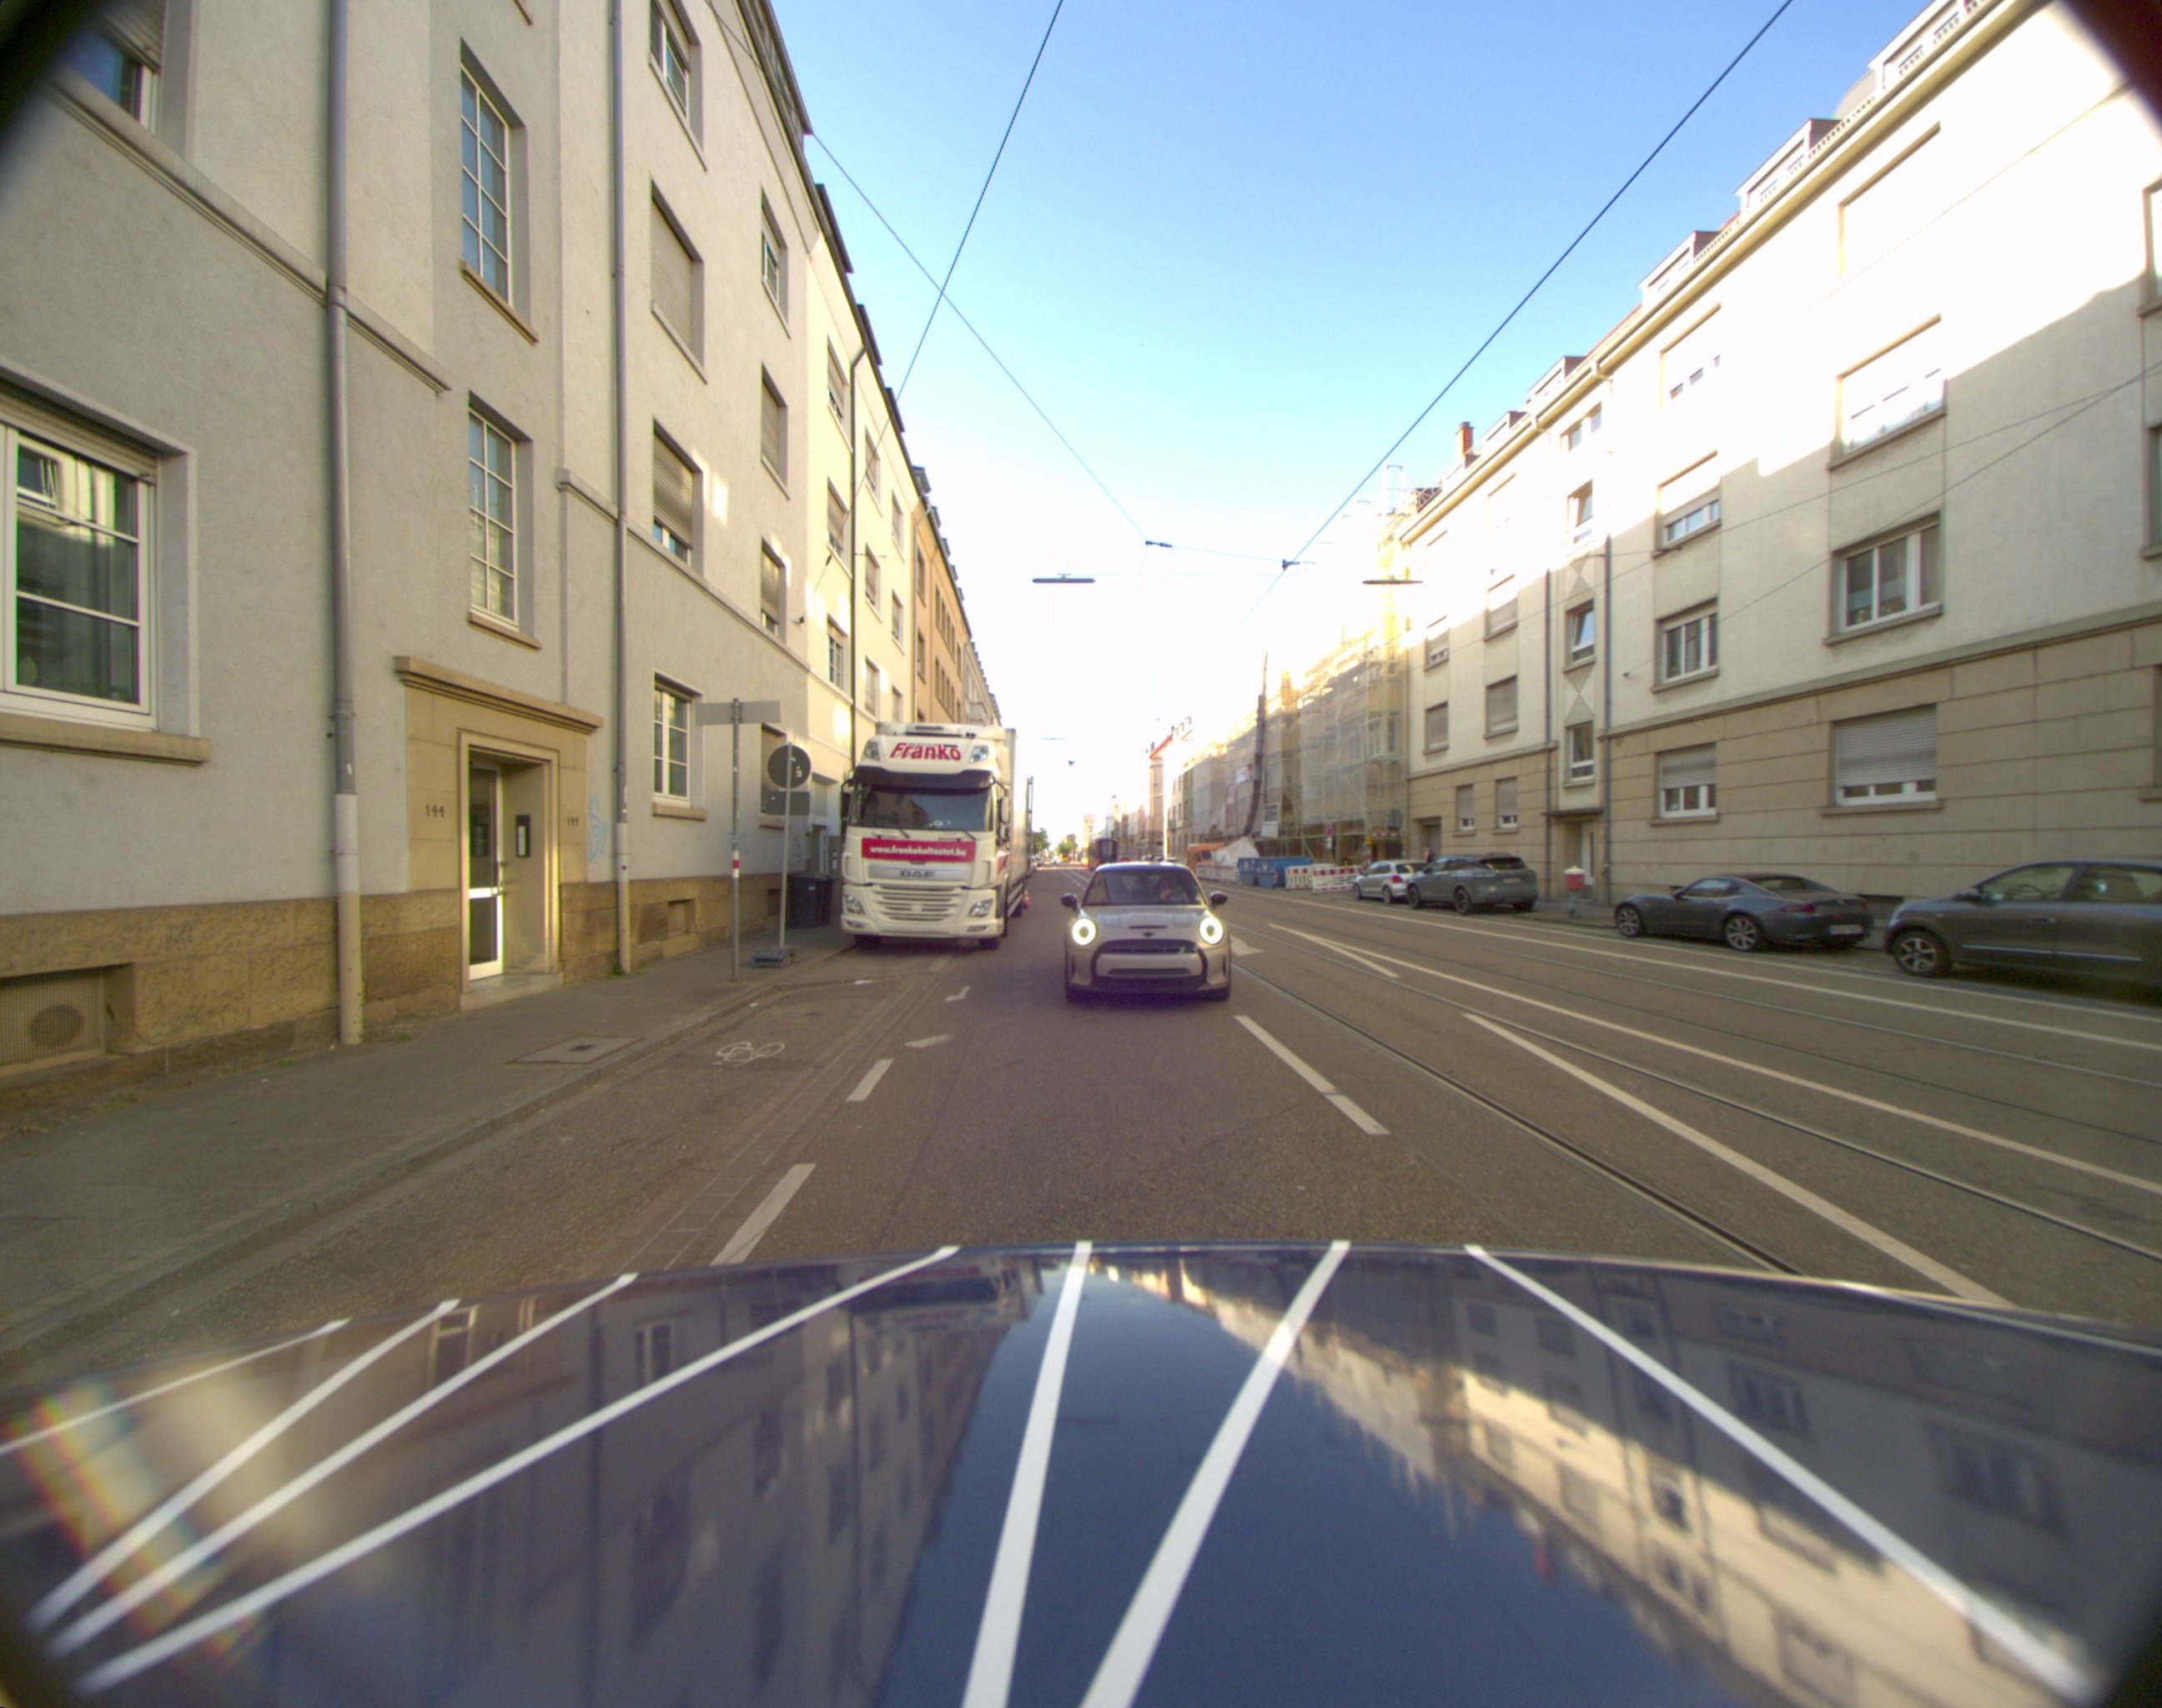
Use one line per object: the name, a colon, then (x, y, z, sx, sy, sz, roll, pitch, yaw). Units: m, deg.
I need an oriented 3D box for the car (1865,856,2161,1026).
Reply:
car: (11.359, 0.860, 8.358, 1.644, 1.549, 3.594, -3, 1, -2)

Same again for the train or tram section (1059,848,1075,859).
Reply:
train or tram section: (-4.993, -0.089, 267.088, 3.881, 3.616, 14.401, -2, 1, -7)

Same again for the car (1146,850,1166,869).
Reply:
car: (8.182, 0.595, 83.393, 1.570, 1.945, 4.183, -2, 1, -1)

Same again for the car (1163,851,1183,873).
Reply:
car: (8.588, 0.697, 71.059, 1.658, 1.911, 3.766, -2, 1, 5)

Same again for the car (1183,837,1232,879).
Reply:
car: (8.802, 0.251, 53.367, 2.215, 2.681, 5.871, -2, 1, -2)

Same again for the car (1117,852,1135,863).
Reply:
car: (7.055, 0.506, 119.508, 2.231, 1.518, 4.959, -2, 1, -1)

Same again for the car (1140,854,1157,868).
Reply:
car: (7.872, 0.821, 88.304, 1.532, 1.518, 3.599, -2, 1, -1)

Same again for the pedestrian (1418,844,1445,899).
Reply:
pedestrian: (12.087, 0.598, 26.208, 0.519, 1.861, 0.762, -2, 1, -2)

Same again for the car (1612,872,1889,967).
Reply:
car: (11.122, 1.006, 12.973, 1.476, 1.212, 3.522, -3, 1, -4)

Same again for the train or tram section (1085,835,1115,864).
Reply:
train or tram section: (2.324, -0.585, 97.821, 2.867, 3.542, 13.330, 0, 1, -3)

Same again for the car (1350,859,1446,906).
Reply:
car: (10.621, 0.906, 25.707, 1.565, 1.372, 3.506, -3, 1, -4)

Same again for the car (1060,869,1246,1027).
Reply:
car: (0.662, 0.910, 8.975, 1.727, 1.416, 3.817, 0, -1, 0)

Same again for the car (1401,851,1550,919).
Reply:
car: (10.830, 0.768, 21.255, 1.752, 1.600, 4.157, -3, 1, -4)

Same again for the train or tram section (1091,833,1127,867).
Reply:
train or tram section: (2.971, -0.461, 84.628, 2.867, 3.542, 13.038, 0, 1, -3)

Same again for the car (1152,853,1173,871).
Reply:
car: (8.194, 0.771, 77.018, 1.570, 1.674, 3.935, -2, 1, -1)

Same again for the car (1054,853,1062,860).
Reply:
car: (-6.071, 0.660, 201.875, 1.999, 1.871, 4.269, -2, 1, -4)

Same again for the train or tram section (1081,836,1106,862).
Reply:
train or tram section: (1.737, -0.712, 111.097, 2.867, 3.542, 13.330, 0, 1, -3)

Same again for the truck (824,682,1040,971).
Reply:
truck: (-2.498, -0.502, 17.040, 2.700, 4.214, 11.773, 0, 1, -1)
